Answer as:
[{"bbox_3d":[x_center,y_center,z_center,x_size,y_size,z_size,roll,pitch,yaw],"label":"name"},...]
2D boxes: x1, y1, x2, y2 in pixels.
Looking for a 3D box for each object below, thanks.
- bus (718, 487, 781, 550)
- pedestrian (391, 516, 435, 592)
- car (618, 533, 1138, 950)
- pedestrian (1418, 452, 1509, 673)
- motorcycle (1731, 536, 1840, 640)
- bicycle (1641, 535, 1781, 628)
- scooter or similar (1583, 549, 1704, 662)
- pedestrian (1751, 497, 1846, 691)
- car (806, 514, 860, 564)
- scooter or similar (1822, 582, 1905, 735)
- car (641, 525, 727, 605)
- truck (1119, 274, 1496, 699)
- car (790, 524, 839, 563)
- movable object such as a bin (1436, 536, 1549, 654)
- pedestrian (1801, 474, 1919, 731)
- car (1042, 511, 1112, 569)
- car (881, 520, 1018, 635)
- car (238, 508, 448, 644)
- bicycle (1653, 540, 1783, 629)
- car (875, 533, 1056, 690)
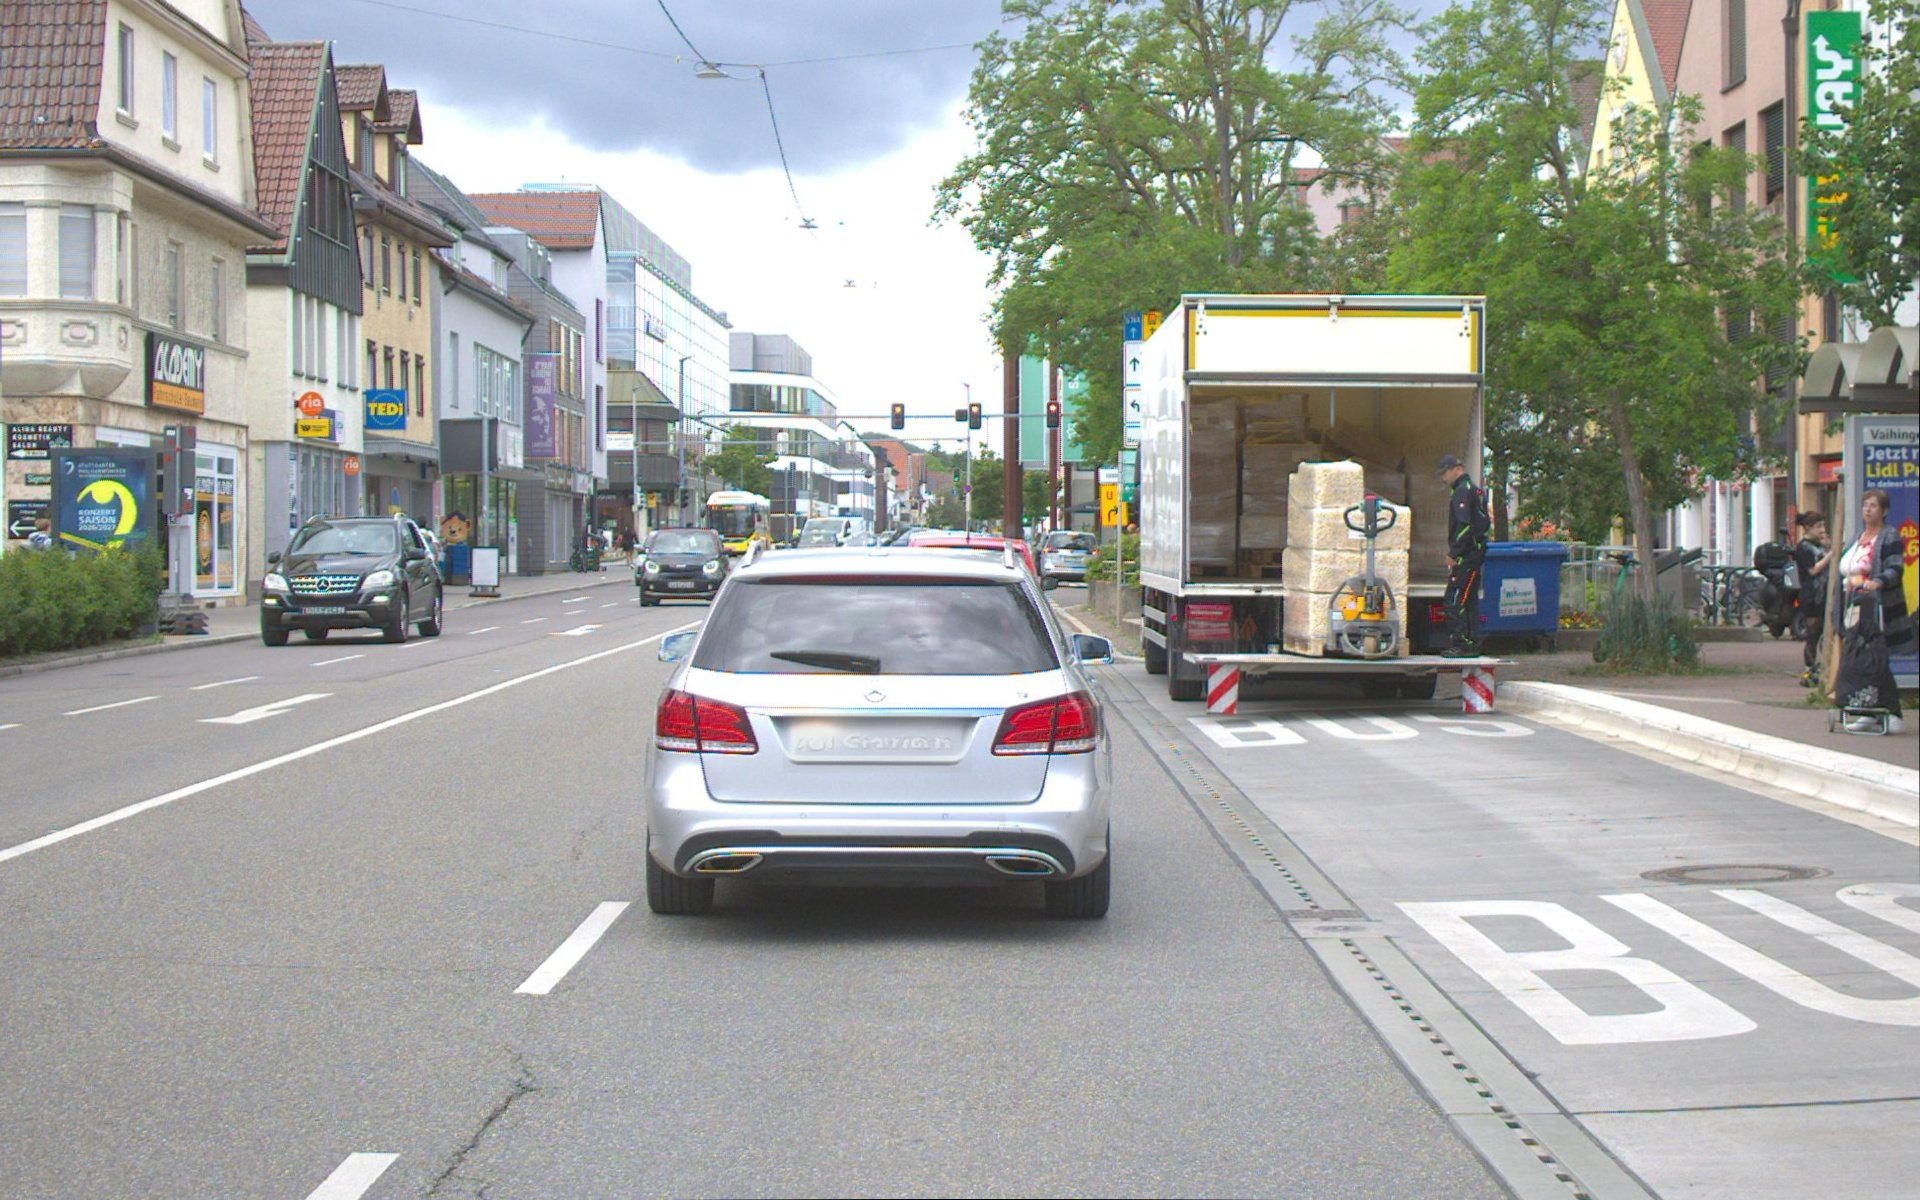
[{"bbox_3d":[-10.699,-4.121,174.834,2.775,3.154,5.933,0,1,1],"label":"bus"},{"bbox_3d":[-11.882,-1.005,74.729,0.816,1.629,0.980,2,1,-5],"label":"pedestrian"},{"bbox_3d":[-0.353,0.479,14.506,1.874,1.501,4.000,1,1,-2],"label":"car"},{"bbox_3d":[4.089,-0.302,27.959,0.613,1.774,0.588,0,0,-3],"label":"pedestrian"},{"bbox_3d":[10.349,-0.166,43.179,0.736,1.266,2.108,-1,1,-4],"label":"motorcycle"},{"bbox_3d":[10.838,-0.276,49.650,1.816,1.322,0.843,0,1,-3],"label":"bicycle"},{"bbox_3d":[7.300,0.056,36.729,1.175,1.192,0.460,0,1,-8],"label":"scooter or similar"},{"bbox_3d":[7.705,-0.062,31.605,0.613,1.734,0.588,3,1,-3],"label":"pedestrian"},{"bbox_3d":[-5.140,-2.503,139.834,1.961,1.954,5.140,-1,1,0],"label":"car"},{"bbox_3d":[5.783,0.369,22.007,0.384,0.955,0.355,-1,1,-41],"label":"scooter or similar"},{"bbox_3d":[-5.465,-0.712,68.351,1.570,1.535,2.961,0,1,-2],"label":"car"},{"bbox_3d":[3.132,-1.065,33.653,2.688,3.549,9.767,0,1,0],"label":"truck"},{"bbox_3d":[-5.472,-2.143,129.790,1.617,1.423,3.922,-1,1,1],"label":"car"},{"bbox_3d":[6.168,-0.069,39.923,1.143,1.335,1.376,0,1,2],"label":"movable object such as a bin"},{"bbox_3d":[5.920,0.013,22.373,0.534,1.629,0.588,2,2,-24],"label":"pedestrian"},{"bbox_3d":[3.458,-1.785,102.206,1.993,1.678,4.000,0,1,1],"label":"car"},{"bbox_3d":[-0.127,-0.369,52.000,1.993,1.678,4.000,0,1,1],"label":"car"},{"bbox_3d":[-8.491,-0.370,47.693,2.069,1.732,4.693,-2,1,-1],"label":"car"},{"bbox_3d":[10.746,-0.221,48.756,1.674,1.254,0.670,0,1,-3],"label":"bicycle"},{"bbox_3d":[0.066,0.085,35.329,1.754,1.515,4.000,0,1,0],"label":"car"}]
